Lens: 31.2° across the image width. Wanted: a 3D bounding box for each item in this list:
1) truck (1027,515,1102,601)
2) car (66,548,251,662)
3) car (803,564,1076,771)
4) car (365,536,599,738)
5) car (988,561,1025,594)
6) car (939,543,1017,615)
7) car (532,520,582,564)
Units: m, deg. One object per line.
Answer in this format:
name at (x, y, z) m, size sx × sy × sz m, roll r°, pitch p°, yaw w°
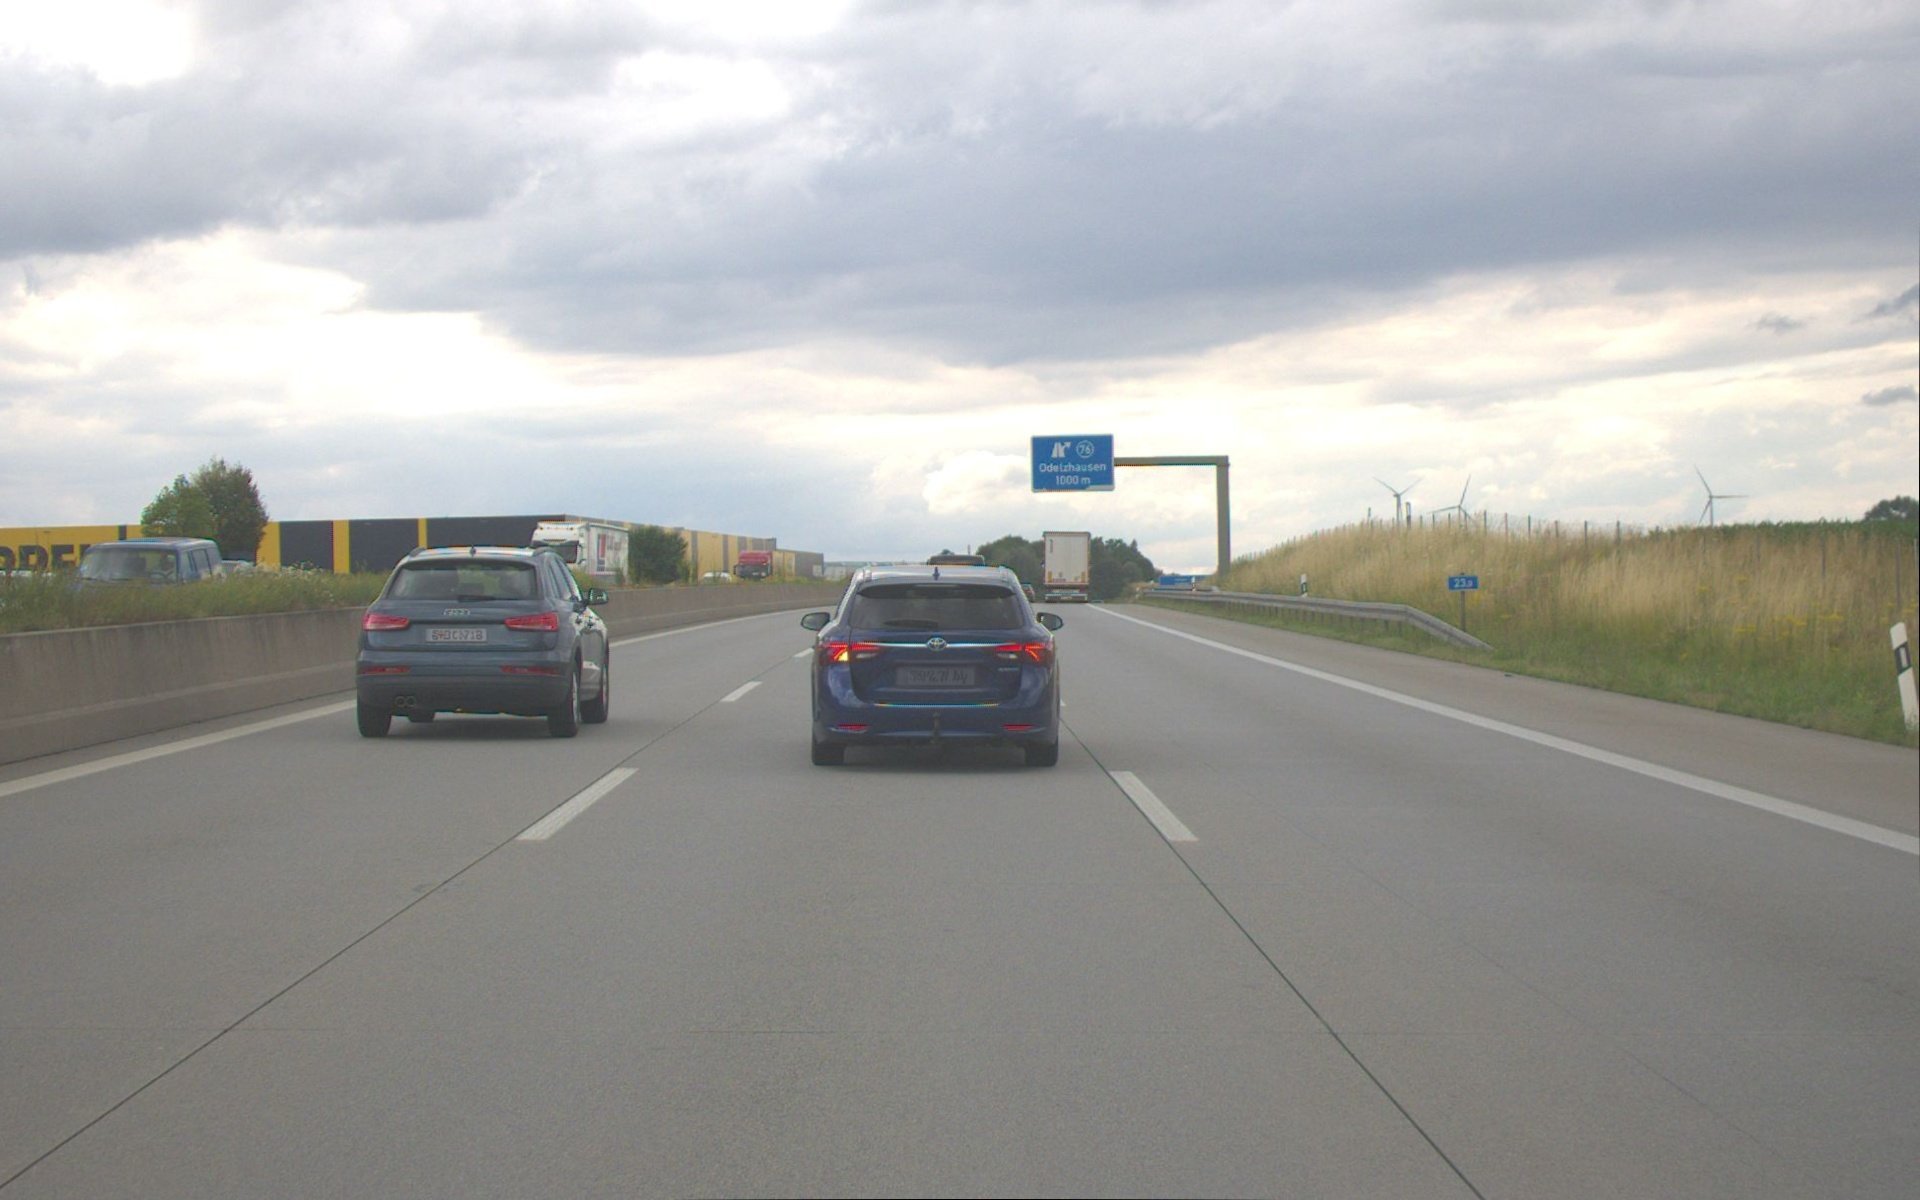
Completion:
truck at (5.947, -2.364, 198.074) m, size 3.950 × 4.740 × 12.076 m, roll 1°, pitch 0°, yaw 0°
car at (-12.766, 0.072, 55.002) m, size 1.993 × 1.722 × 4.109 m, roll 1°, pitch 0°, yaw 0°
car at (-0.229, 0.444, 25.547) m, size 1.774 × 1.408 × 4.001 m, roll 0°, pitch 0°, yaw -4°
car at (-4.087, 0.258, 30.031) m, size 1.792 × 1.590 × 5.158 m, roll 1°, pitch 1°, yaw -6°
car at (2.923, -1.416, 216.627) m, size 1.993 × 2.007 × 4.000 m, roll 1°, pitch 0°, yaw -4°
car at (0.499, -0.599, 99.529) m, size 1.993 × 2.007 × 4.000 m, roll 1°, pitch 0°, yaw -3°
car at (-19.553, -2.807, 166.888) m, size 1.993 × 2.007 × 4.000 m, roll 1°, pitch 0°, yaw 0°
